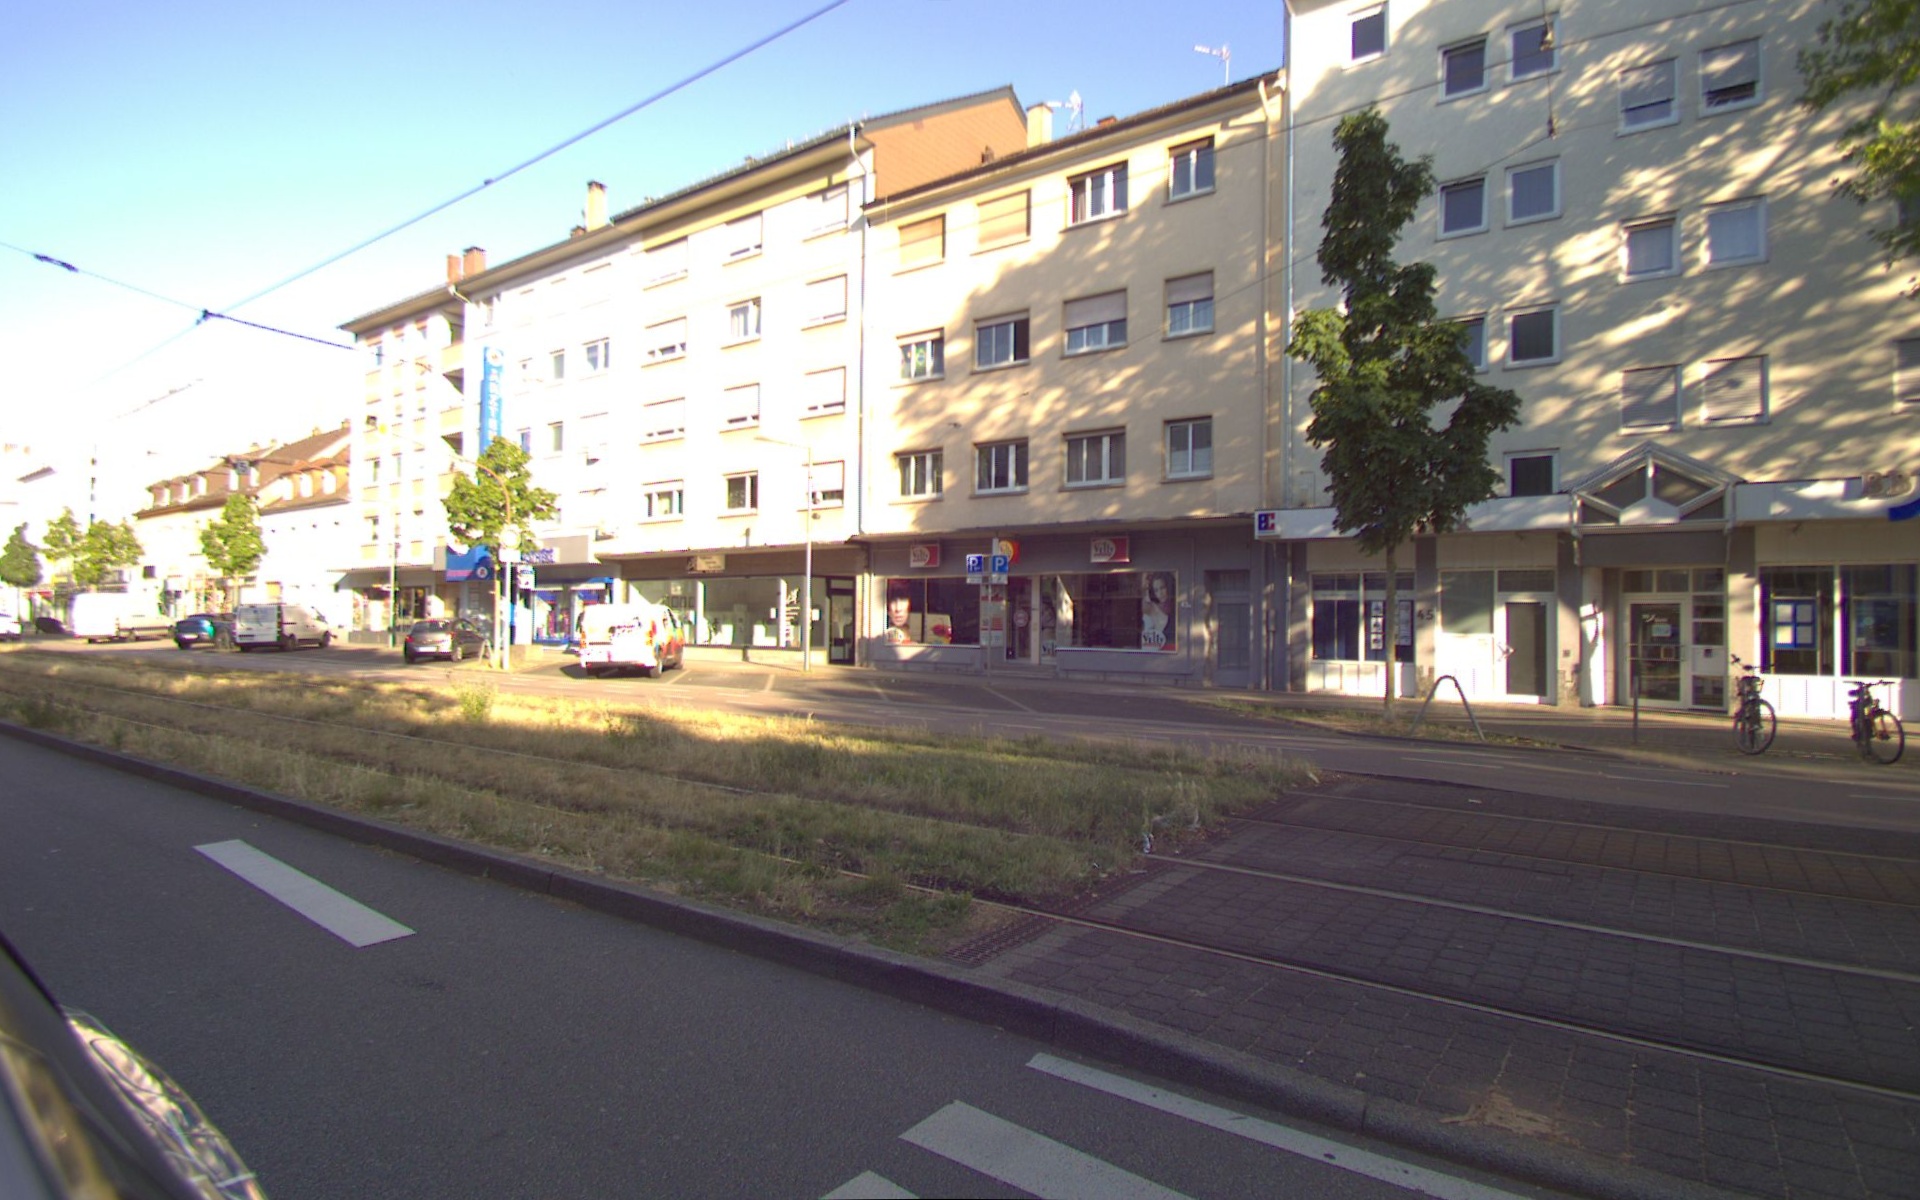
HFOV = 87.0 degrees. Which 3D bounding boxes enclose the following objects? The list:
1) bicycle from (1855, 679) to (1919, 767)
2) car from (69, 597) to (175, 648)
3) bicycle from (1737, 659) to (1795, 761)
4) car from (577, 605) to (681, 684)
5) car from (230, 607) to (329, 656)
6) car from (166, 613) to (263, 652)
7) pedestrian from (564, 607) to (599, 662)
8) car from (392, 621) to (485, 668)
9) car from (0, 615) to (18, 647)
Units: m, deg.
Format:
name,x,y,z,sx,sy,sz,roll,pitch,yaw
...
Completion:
name,x,y,z,sx,sy,sz,roll,pitch,yaw
bicycle,11.345,1.470,12.355,0.471,0.895,1.724,-1,-1,36
car,-45.429,1.157,55.073,1.895,2.634,6.608,0,0,-16
bicycle,10.311,1.368,12.976,0.511,1.147,1.724,-1,-1,36
car,-8.771,1.119,27.117,1.830,1.913,4.005,0,0,-6
car,-28.624,1.258,42.724,1.828,1.952,4.514,0,0,-10
car,-34.273,1.457,46.644,1.830,1.727,3.919,0,0,-4
pedestrian,-12.909,1.167,34.548,0.916,1.841,0.748,-1,-1,38
car,-17.576,1.455,34.309,1.708,1.450,4.009,0,0,-10
car,-49.164,1.544,50.991,4.444,1.592,1.823,-1,-1,38
